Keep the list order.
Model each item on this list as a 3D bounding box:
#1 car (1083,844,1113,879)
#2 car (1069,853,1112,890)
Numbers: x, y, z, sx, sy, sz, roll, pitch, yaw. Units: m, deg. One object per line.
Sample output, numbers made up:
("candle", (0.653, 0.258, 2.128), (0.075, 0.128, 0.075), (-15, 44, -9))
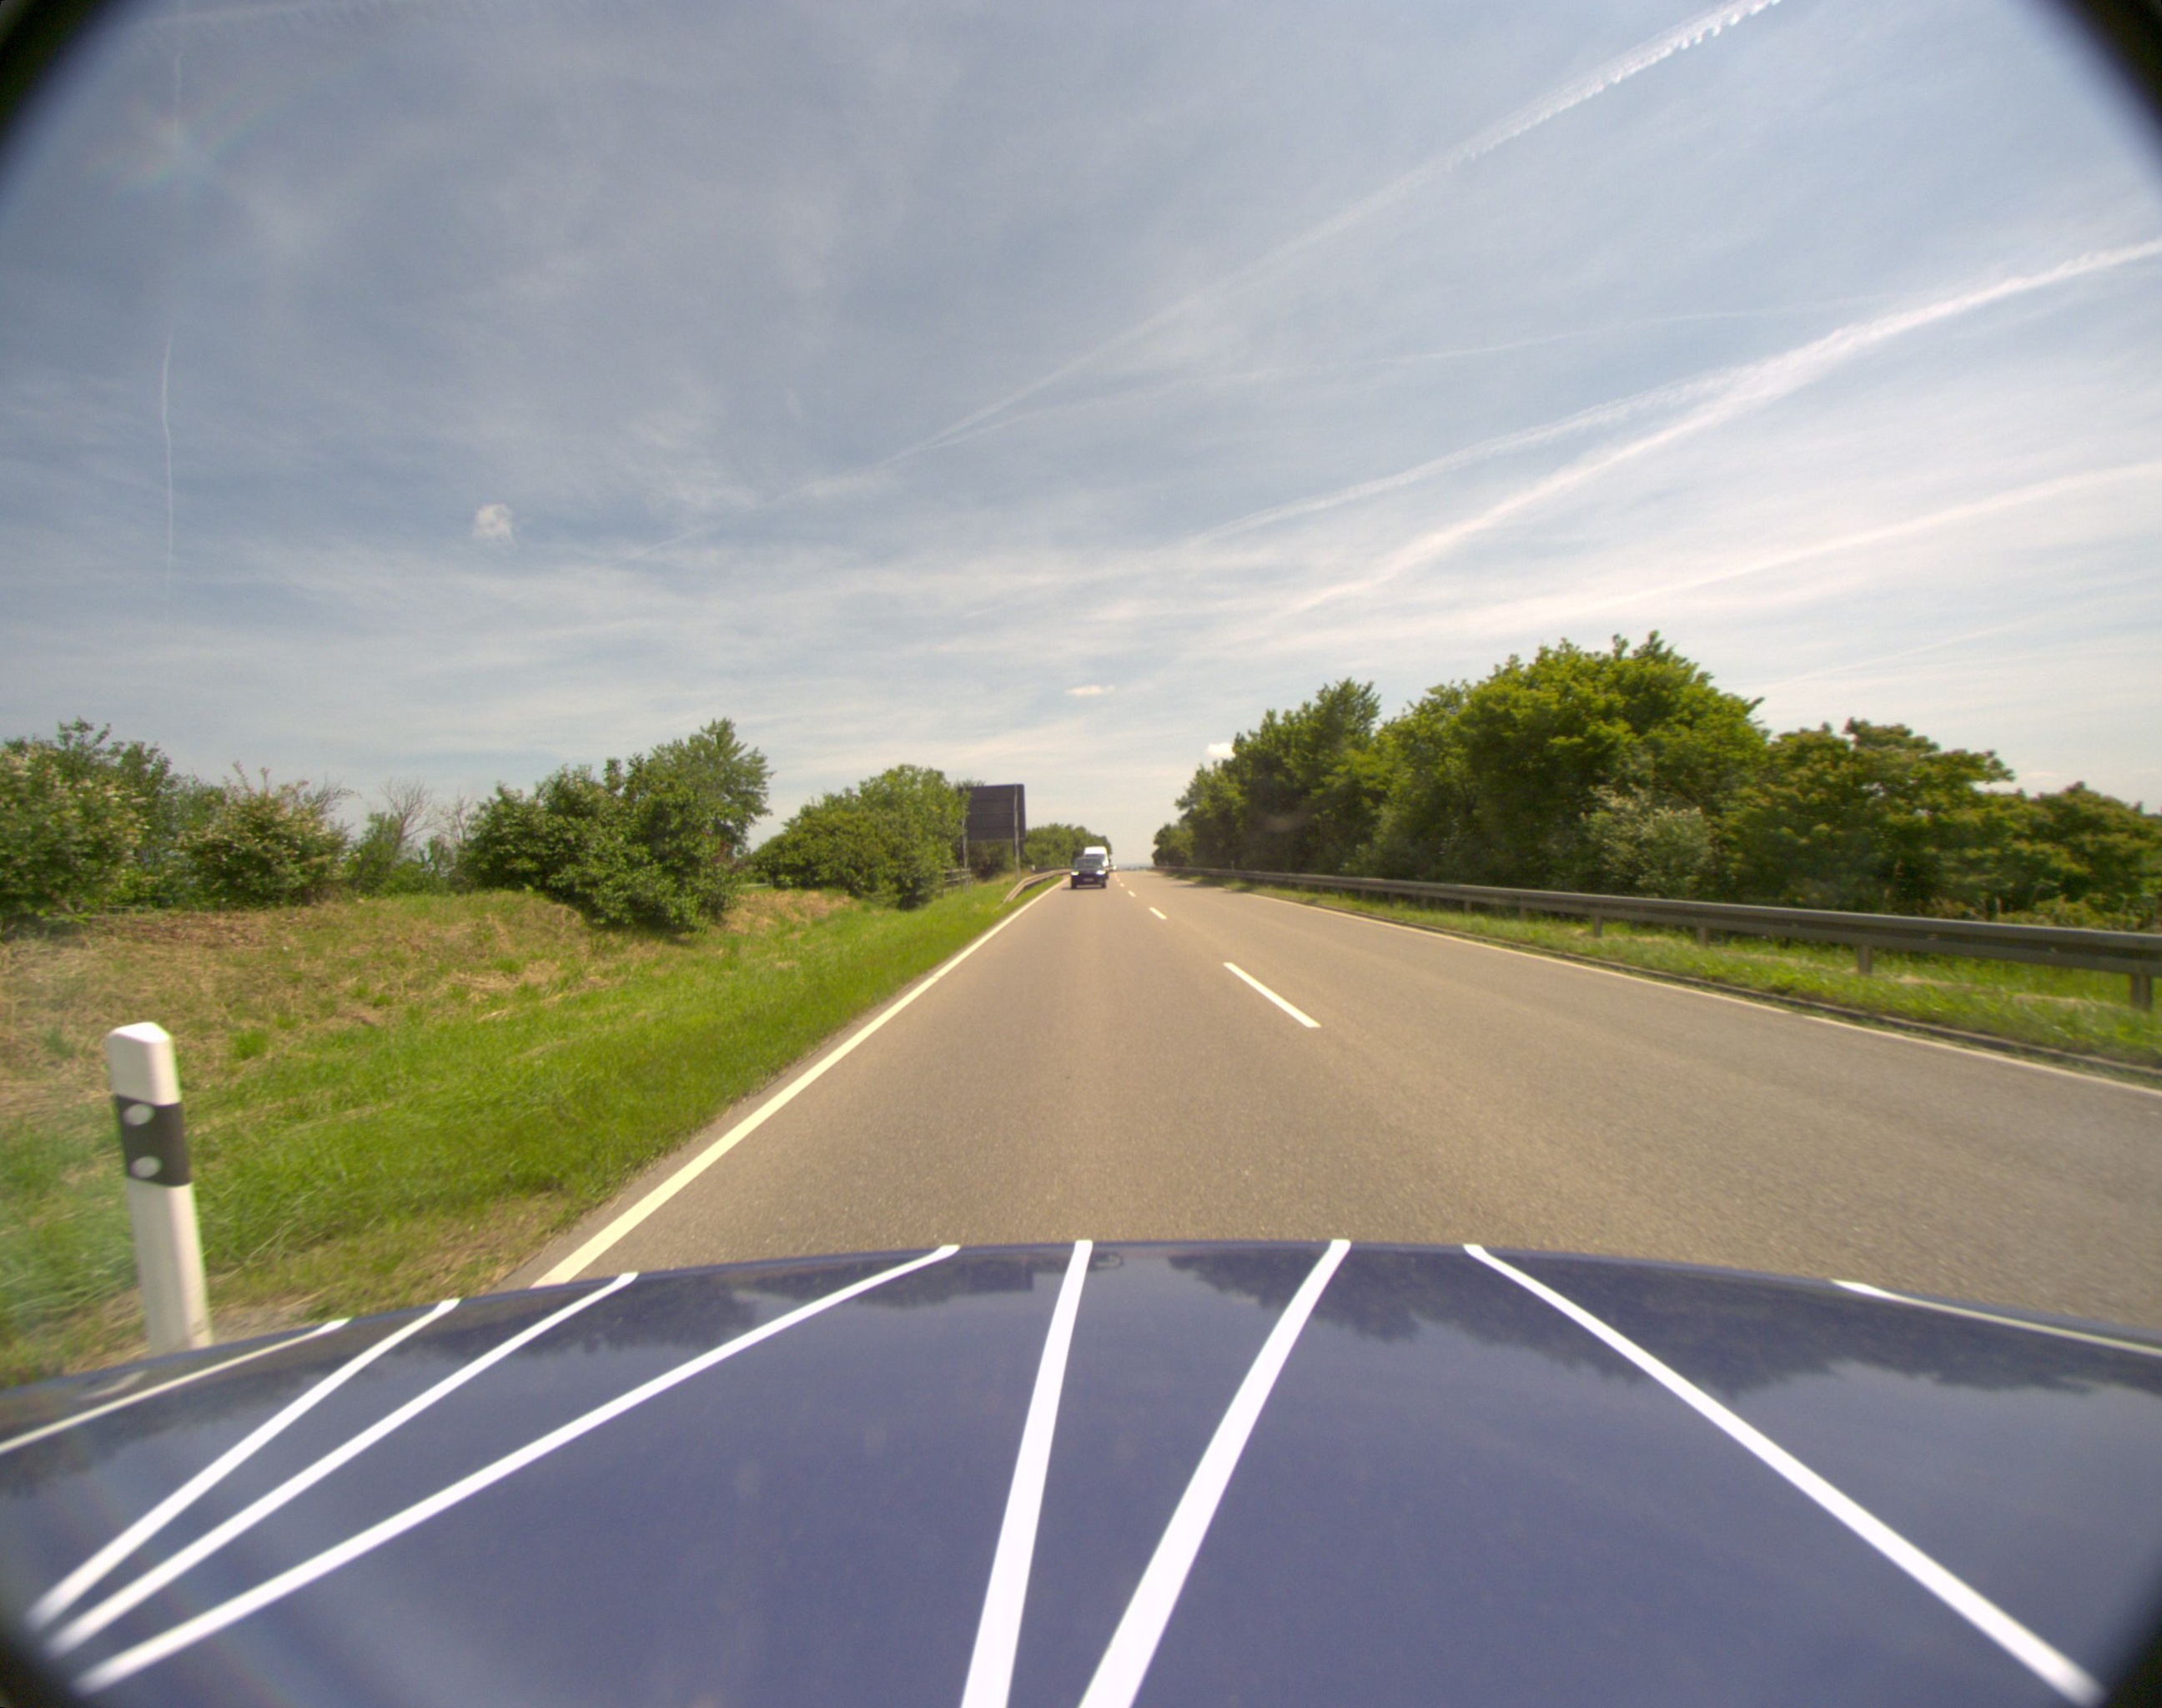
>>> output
("car", (1.405, 0.579, 61.557), (2.225, 2.617, 5.753), (-2, 1, 2))
("car", (0.566, 0.862, 39.860), (2.038, 1.691, 5.513), (-1, 1, 3))
